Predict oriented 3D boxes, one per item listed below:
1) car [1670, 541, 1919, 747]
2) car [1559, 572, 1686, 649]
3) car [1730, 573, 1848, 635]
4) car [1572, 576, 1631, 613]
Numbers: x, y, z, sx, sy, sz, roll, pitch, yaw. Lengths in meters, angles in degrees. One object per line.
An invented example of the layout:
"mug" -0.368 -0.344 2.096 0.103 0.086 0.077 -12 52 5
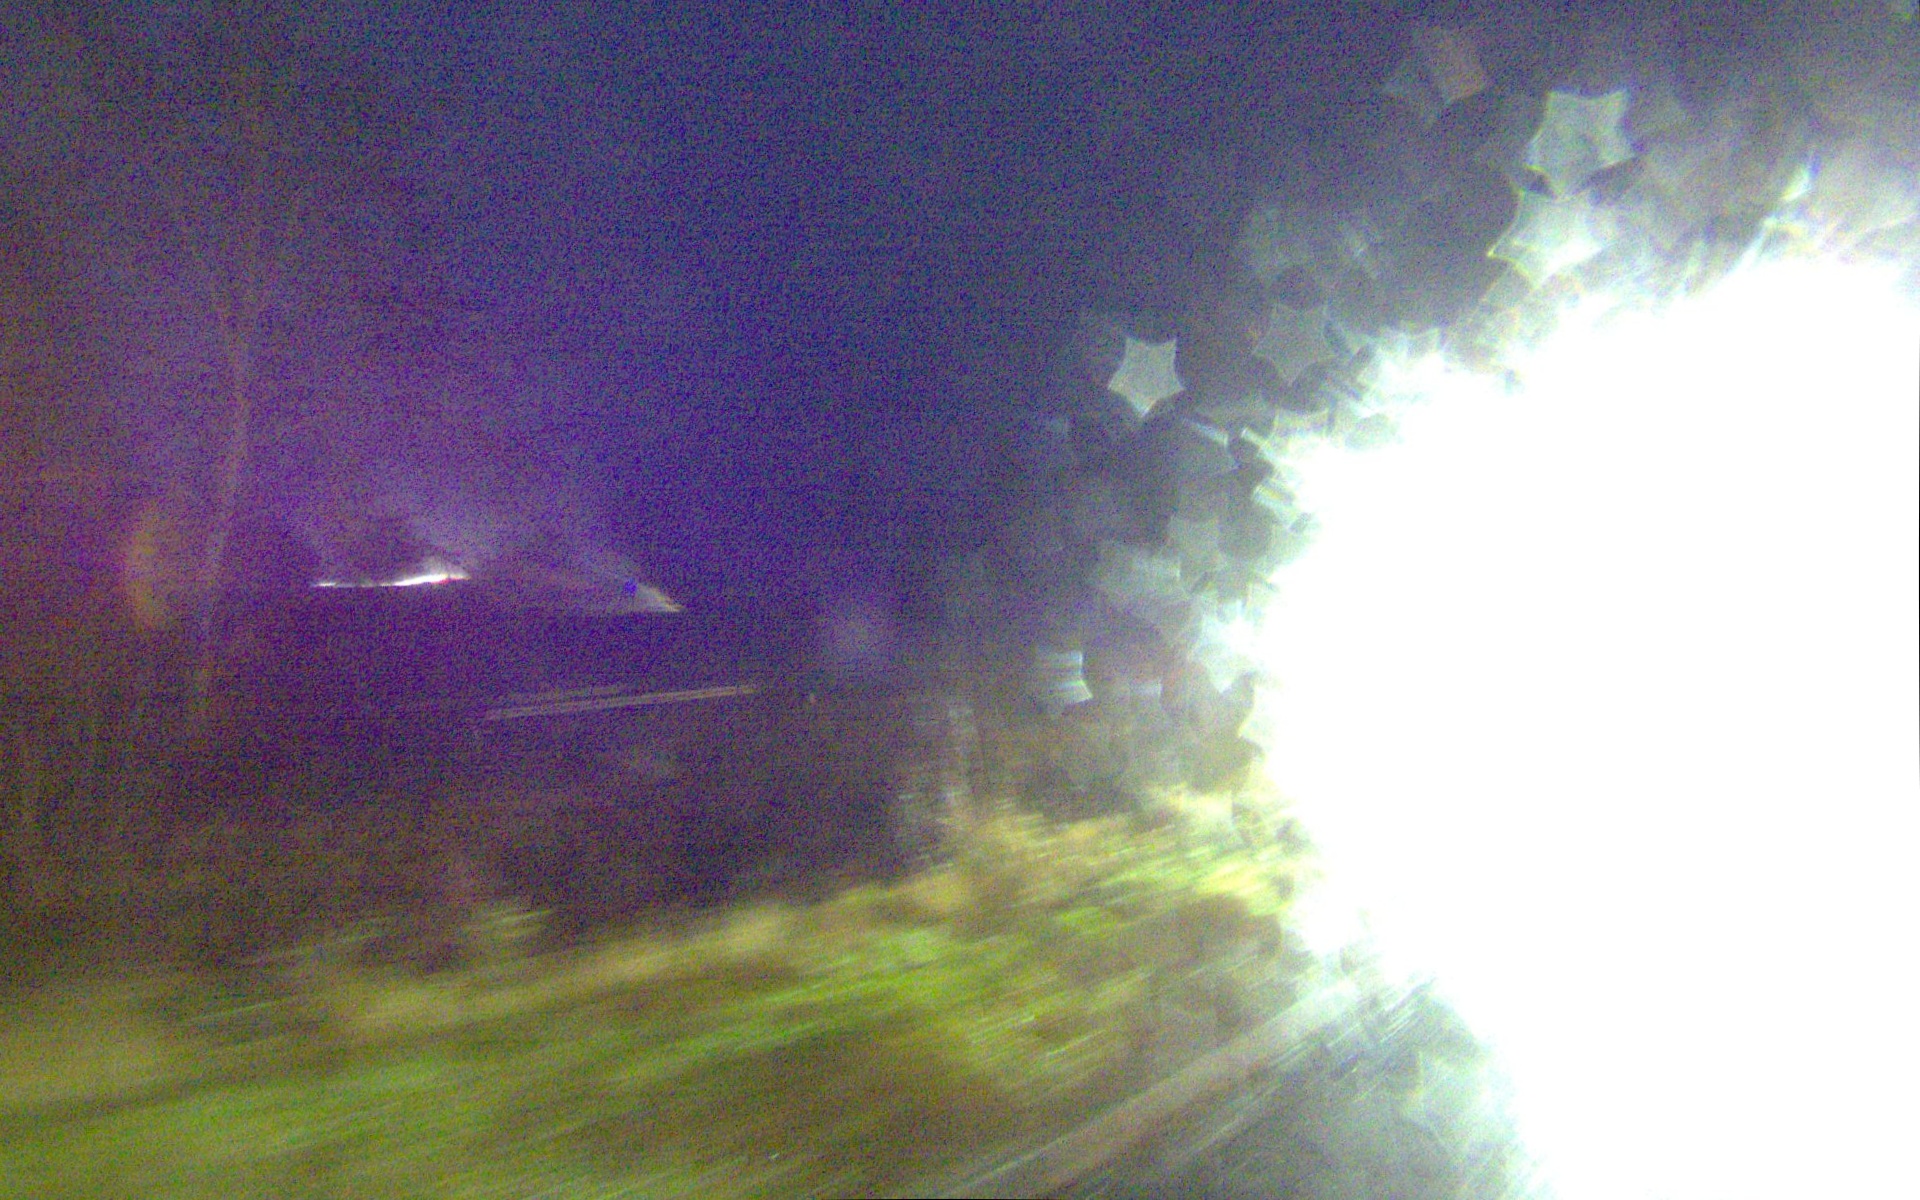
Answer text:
"car" 9.733 0.346 11.664 1.986 1.949 4.327 -1 1 28
"car" 14.840 0.243 22.881 1.669 1.552 3.956 -2 -1 23
"car" 24.788 0.094 30.419 1.831 1.727 4.091 0 1 26
"car" 28.204 -0.259 44.608 1.664 1.463 4.140 -1 1 25
